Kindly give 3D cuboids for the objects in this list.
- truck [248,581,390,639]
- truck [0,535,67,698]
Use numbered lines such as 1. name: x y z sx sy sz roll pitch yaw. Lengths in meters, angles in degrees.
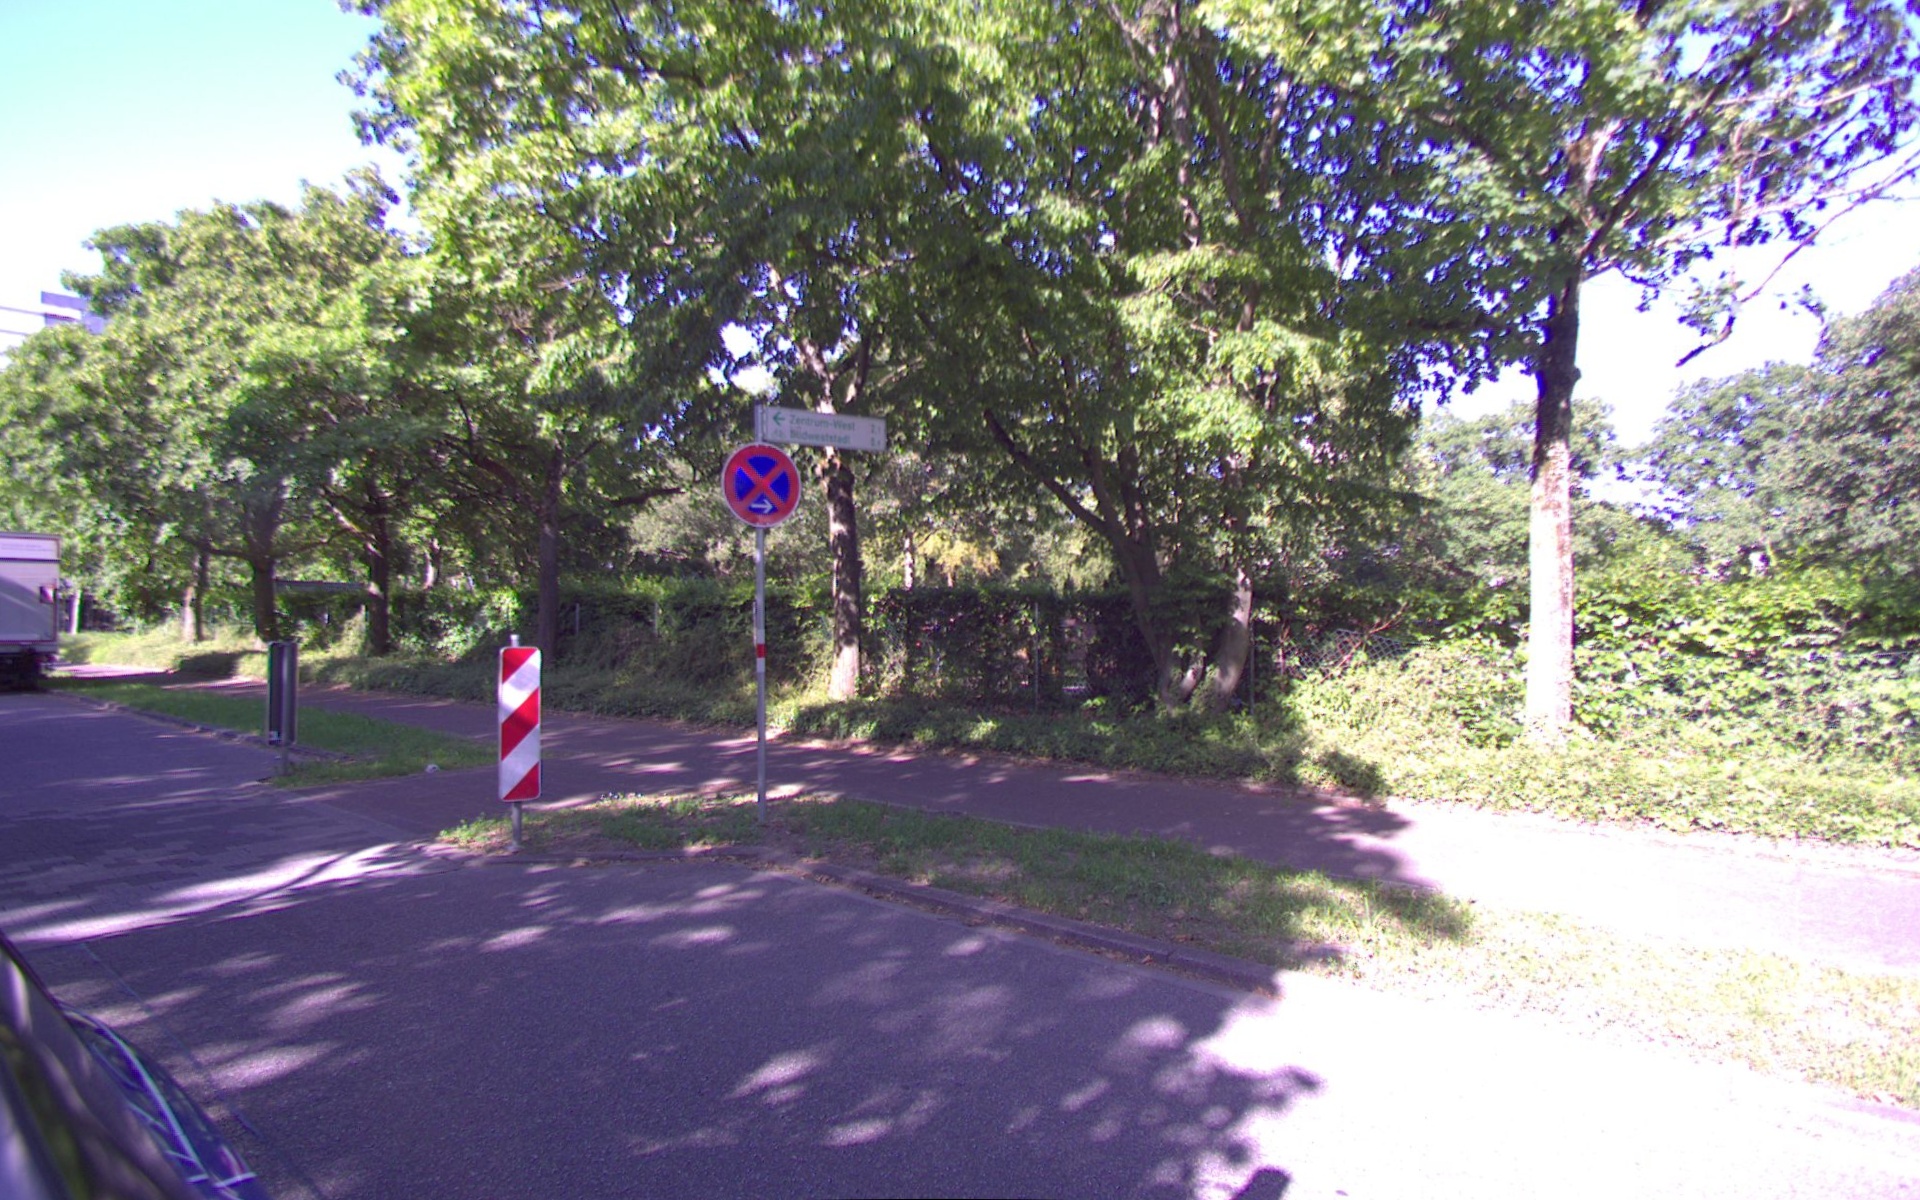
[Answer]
1. truck: -23.897 0.440 37.820 2.201 2.029 3.949 -2 -3 38
2. truck: -24.826 0.450 25.181 8.094 3.669 2.707 -2 -2 40
